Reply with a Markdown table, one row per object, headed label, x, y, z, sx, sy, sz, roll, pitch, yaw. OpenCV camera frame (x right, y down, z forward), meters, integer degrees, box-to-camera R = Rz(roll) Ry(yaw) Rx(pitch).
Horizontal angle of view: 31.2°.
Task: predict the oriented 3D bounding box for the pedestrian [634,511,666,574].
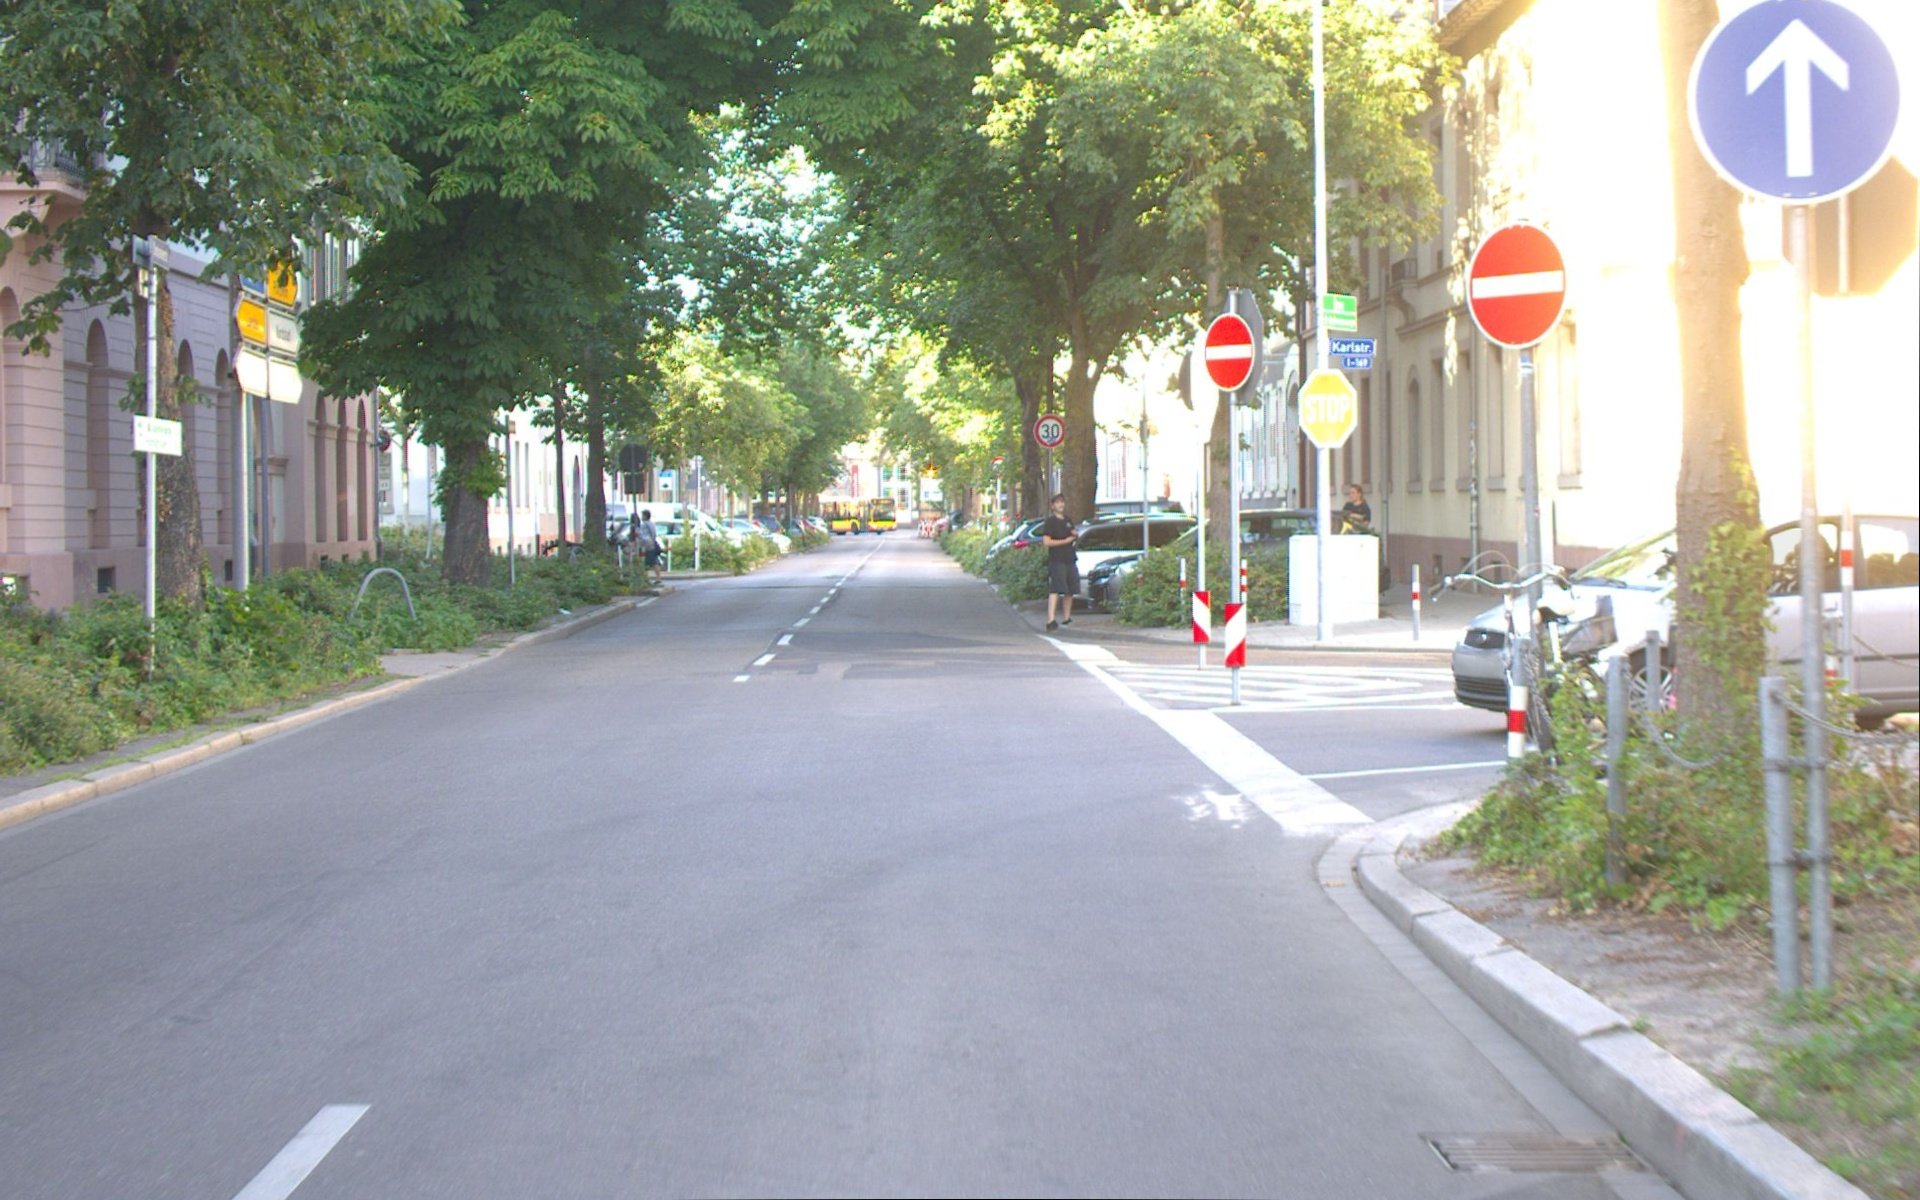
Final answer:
| label | x | y | z | sx | sy | sz | roll | pitch | yaw |
| --- | --- | --- | --- | --- | --- | --- | --- | --- | --- |
| pedestrian | -6.848 | -1.268 | 75.868 | 0.655 | 1.390 | 0.607 | 0 | 1 | -1 |

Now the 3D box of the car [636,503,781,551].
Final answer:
| label | x | y | z | sx | sy | sz | roll | pitch | yaw |
| --- | --- | --- | --- | --- | --- | --- | --- | --- | --- |
| car | -9.237 | -2.701 | 126.665 | 5.064 | 1.611 | 2.263 | -1 | 2 | 3 |

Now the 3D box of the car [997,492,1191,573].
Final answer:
| label | x | y | z | sx | sy | sz | roll | pitch | yaw |
| --- | --- | --- | --- | --- | --- | --- | --- | --- | --- |
| car | 2.847 | -1.454 | 73.592 | 4.014 | 1.617 | 1.781 | -1 | 2 | -2 |

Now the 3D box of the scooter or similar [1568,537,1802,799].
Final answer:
| label | x | y | z | sx | sy | sz | roll | pitch | yaw |
| --- | --- | --- | --- | --- | --- | --- | --- | --- | --- |
| scooter or similar | 3.618 | 0.317 | 17.116 | 1.271 | 1.239 | 0.506 | -2 | 2 | -44 |

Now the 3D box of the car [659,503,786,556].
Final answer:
| label | x | y | z | sx | sy | sz | roll | pitch | yaw |
| --- | --- | --- | --- | --- | --- | --- | --- | --- | --- |
| car | -9.835 | -2.949 | 142.919 | 5.064 | 2.076 | 2.263 | -1 | 2 | 1 |

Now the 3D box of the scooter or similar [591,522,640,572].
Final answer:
| label | x | y | z | sx | sy | sz | roll | pitch | yaw |
| --- | --- | --- | --- | --- | --- | --- | --- | --- | --- |
| scooter or similar | -7.661 | -1.184 | 76.544 | 0.896 | 1.085 | 0.845 | 0 | 2 | 9 |

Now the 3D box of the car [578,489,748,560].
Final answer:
| label | x | y | z | sx | sy | sz | roll | pitch | yaw |
| --- | --- | --- | --- | --- | --- | --- | --- | --- | --- |
| car | -9.167 | -2.352 | 106.599 | 5.064 | 2.076 | 2.263 | -1 | 2 | -1 |

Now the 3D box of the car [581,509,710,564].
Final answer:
| label | x | y | z | sx | sy | sz | roll | pitch | yaw |
| --- | --- | --- | --- | --- | --- | --- | --- | --- | --- |
| car | -9.246 | -1.876 | 101.214 | 3.725 | 1.503 | 1.873 | -1 | 2 | -4 |

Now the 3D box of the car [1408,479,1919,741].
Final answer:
| label | x | y | z | sx | sy | sz | roll | pitch | yaw |
| --- | --- | --- | --- | --- | --- | --- | --- | --- | --- |
| car | 5.449 | 0.013 | 23.502 | 4.337 | 1.648 | 1.886 | -1 | 2 | -19 |

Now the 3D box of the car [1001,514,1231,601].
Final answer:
| label | x | y | z | sx | sy | sz | roll | pitch | yaw |
| --- | --- | --- | --- | --- | --- | --- | --- | --- | --- |
| car | 2.801 | -0.780 | 62.274 | 4.014 | 1.475 | 1.781 | -1 | 2 | -2 |

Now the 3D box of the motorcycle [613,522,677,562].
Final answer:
| label | x | y | z | sx | sy | sz | roll | pitch | yaw |
| --- | --- | --- | --- | --- | --- | --- | --- | --- | --- |
| motorcycle | -8.430 | -1.548 | 92.031 | 1.636 | 1.064 | 0.656 | 0 | 2 | -1 |

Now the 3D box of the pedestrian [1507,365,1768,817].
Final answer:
| label | x | y | z | sx | sy | sz | roll | pitch | yaw |
| --- | --- | --- | --- | --- | --- | --- | --- | --- | --- |
| pedestrian | 3.292 | -0.051 | 16.817 | 1.043 | 2.139 | 1.063 | 0 | 1 | 0 |

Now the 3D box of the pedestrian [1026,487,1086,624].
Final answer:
| label | x | y | z | sx | sy | sz | roll | pitch | yaw |
| --- | --- | --- | --- | --- | --- | --- | --- | --- | --- |
| pedestrian | 1.323 | -0.622 | 47.383 | 0.794 | 1.862 | 0.751 | -1 | 1 | 2 |

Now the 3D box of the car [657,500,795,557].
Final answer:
| label | x | y | z | sx | sy | sz | roll | pitch | yaw |
| --- | --- | --- | --- | --- | --- | --- | --- | --- | --- |
| car | -8.952 | -2.756 | 132.071 | 5.064 | 2.076 | 2.263 | -1 | 2 | 1 |

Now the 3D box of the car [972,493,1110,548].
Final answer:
| label | x | y | z | sx | sy | sz | roll | pitch | yaw |
| --- | --- | --- | --- | --- | --- | --- | --- | --- | --- |
| car | 2.733 | -2.709 | 116.850 | 4.593 | 1.755 | 2.222 | -1 | 2 | 0 |

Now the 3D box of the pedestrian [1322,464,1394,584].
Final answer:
| label | x | y | z | sx | sy | sz | roll | pitch | yaw |
| --- | --- | --- | --- | --- | --- | --- | --- | --- | --- |
| pedestrian | 5.739 | -1.100 | 49.584 | 0.943 | 1.700 | 0.782 | -1 | 3 | 1 |

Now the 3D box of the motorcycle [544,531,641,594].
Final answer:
| label | x | y | z | sx | sy | sz | roll | pitch | yaw |
| --- | --- | --- | --- | --- | --- | --- | --- | --- | --- |
| motorcycle | -7.632 | -0.777 | 71.441 | 1.919 | 1.254 | 0.591 | -1 | 2 | -1 |

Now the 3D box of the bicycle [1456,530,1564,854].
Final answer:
| label | x | y | z | sx | sy | sz | roll | pitch | yaw |
| --- | --- | --- | --- | --- | --- | --- | --- | --- | --- |
| bicycle | 2.470 | 0.386 | 15.381 | 0.417 | 1.367 | 1.288 | -1 | 2 | 11 |

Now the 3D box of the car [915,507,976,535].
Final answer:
| label | x | y | z | sx | sy | sz | roll | pitch | yaw |
| --- | --- | --- | --- | --- | --- | --- | --- | --- | --- |
| car | -1.009 | -5.490 | 238.738 | 3.988 | 1.831 | 2.000 | 0 | 2 | 7 |

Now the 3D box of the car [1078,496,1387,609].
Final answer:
| label | x | y | z | sx | sy | sz | roll | pitch | yaw |
| --- | --- | --- | --- | --- | --- | --- | --- | --- | --- |
| car | 3.753 | -0.676 | 47.823 | 4.107 | 1.485 | 1.850 | -1 | 3 | -2 |

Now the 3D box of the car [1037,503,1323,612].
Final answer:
| label | x | y | z | sx | sy | sz | roll | pitch | yaw |
| --- | --- | --- | --- | --- | --- | --- | --- | --- | --- |
| car | 3.341 | -0.670 | 52.789 | 4.192 | 1.475 | 1.852 | -2 | 2 | 0 |
